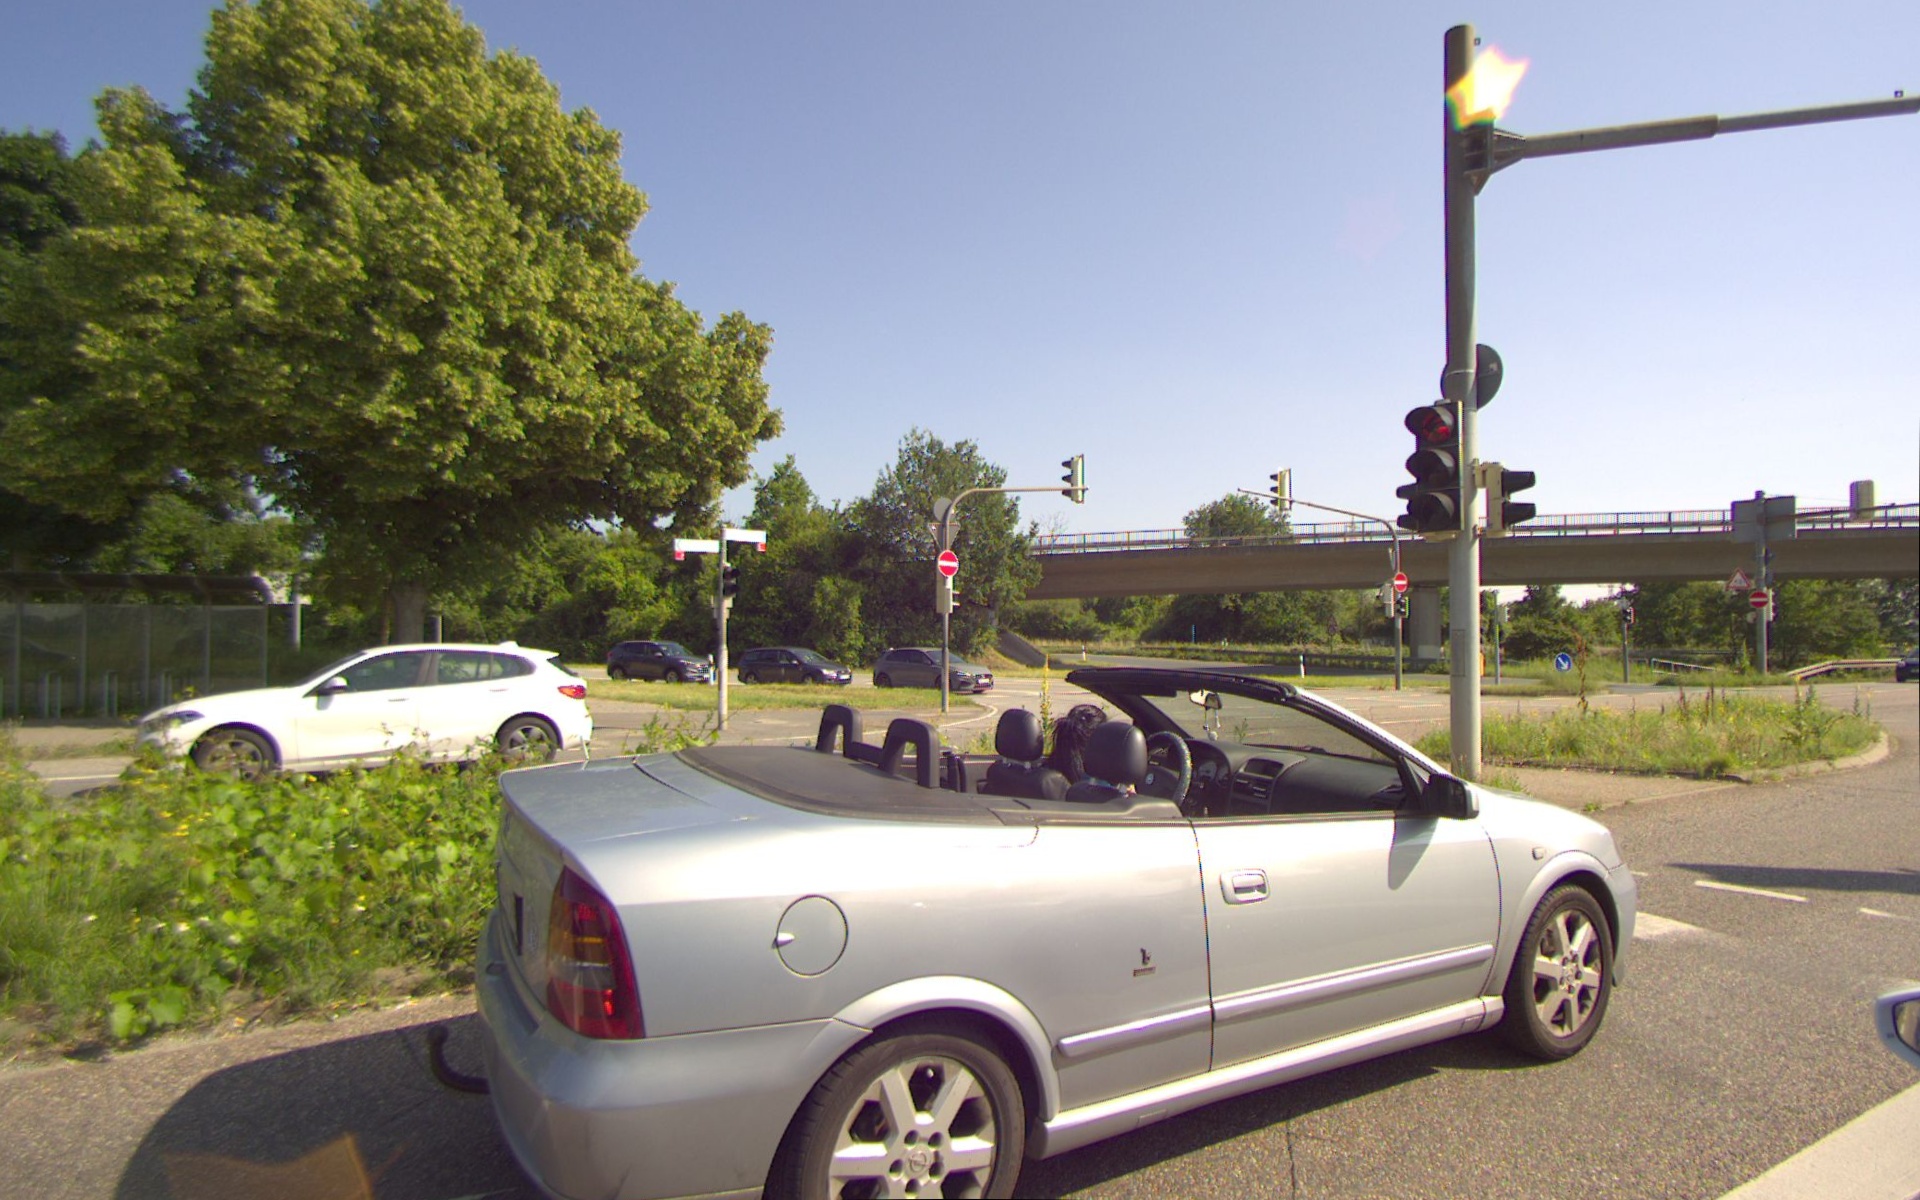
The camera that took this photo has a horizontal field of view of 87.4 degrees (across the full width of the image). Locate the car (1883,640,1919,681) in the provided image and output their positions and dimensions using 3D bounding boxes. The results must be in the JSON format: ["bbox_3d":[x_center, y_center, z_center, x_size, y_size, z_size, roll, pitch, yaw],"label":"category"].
[{"bbox_3d":[36.270,2.236,37.482,3.732,1.460,1.607,1,-4,-30],"label":"car"}]

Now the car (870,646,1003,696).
[{"bbox_3d":[-0.787,2.216,32.064,4.066,1.443,1.862,-2,-3,41],"label":"car"}]

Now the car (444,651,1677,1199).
[{"bbox_3d":[0.526,0.873,3.481,4.049,1.352,1.666,1,-2,-30],"label":"car"}]

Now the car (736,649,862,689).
[{"bbox_3d":[-5.676,2.396,35.222,4.276,1.297,1.648,-1,-2,30],"label":"car"}]

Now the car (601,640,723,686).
[{"bbox_3d":[-11.179,2.326,37.651,4.270,1.616,1.651,-1,-2,22],"label":"car"}]

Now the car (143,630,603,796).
[{"bbox_3d":[-6.312,1.160,11.211,4.103,1.534,1.873,2,-5,-32],"label":"car"}]
